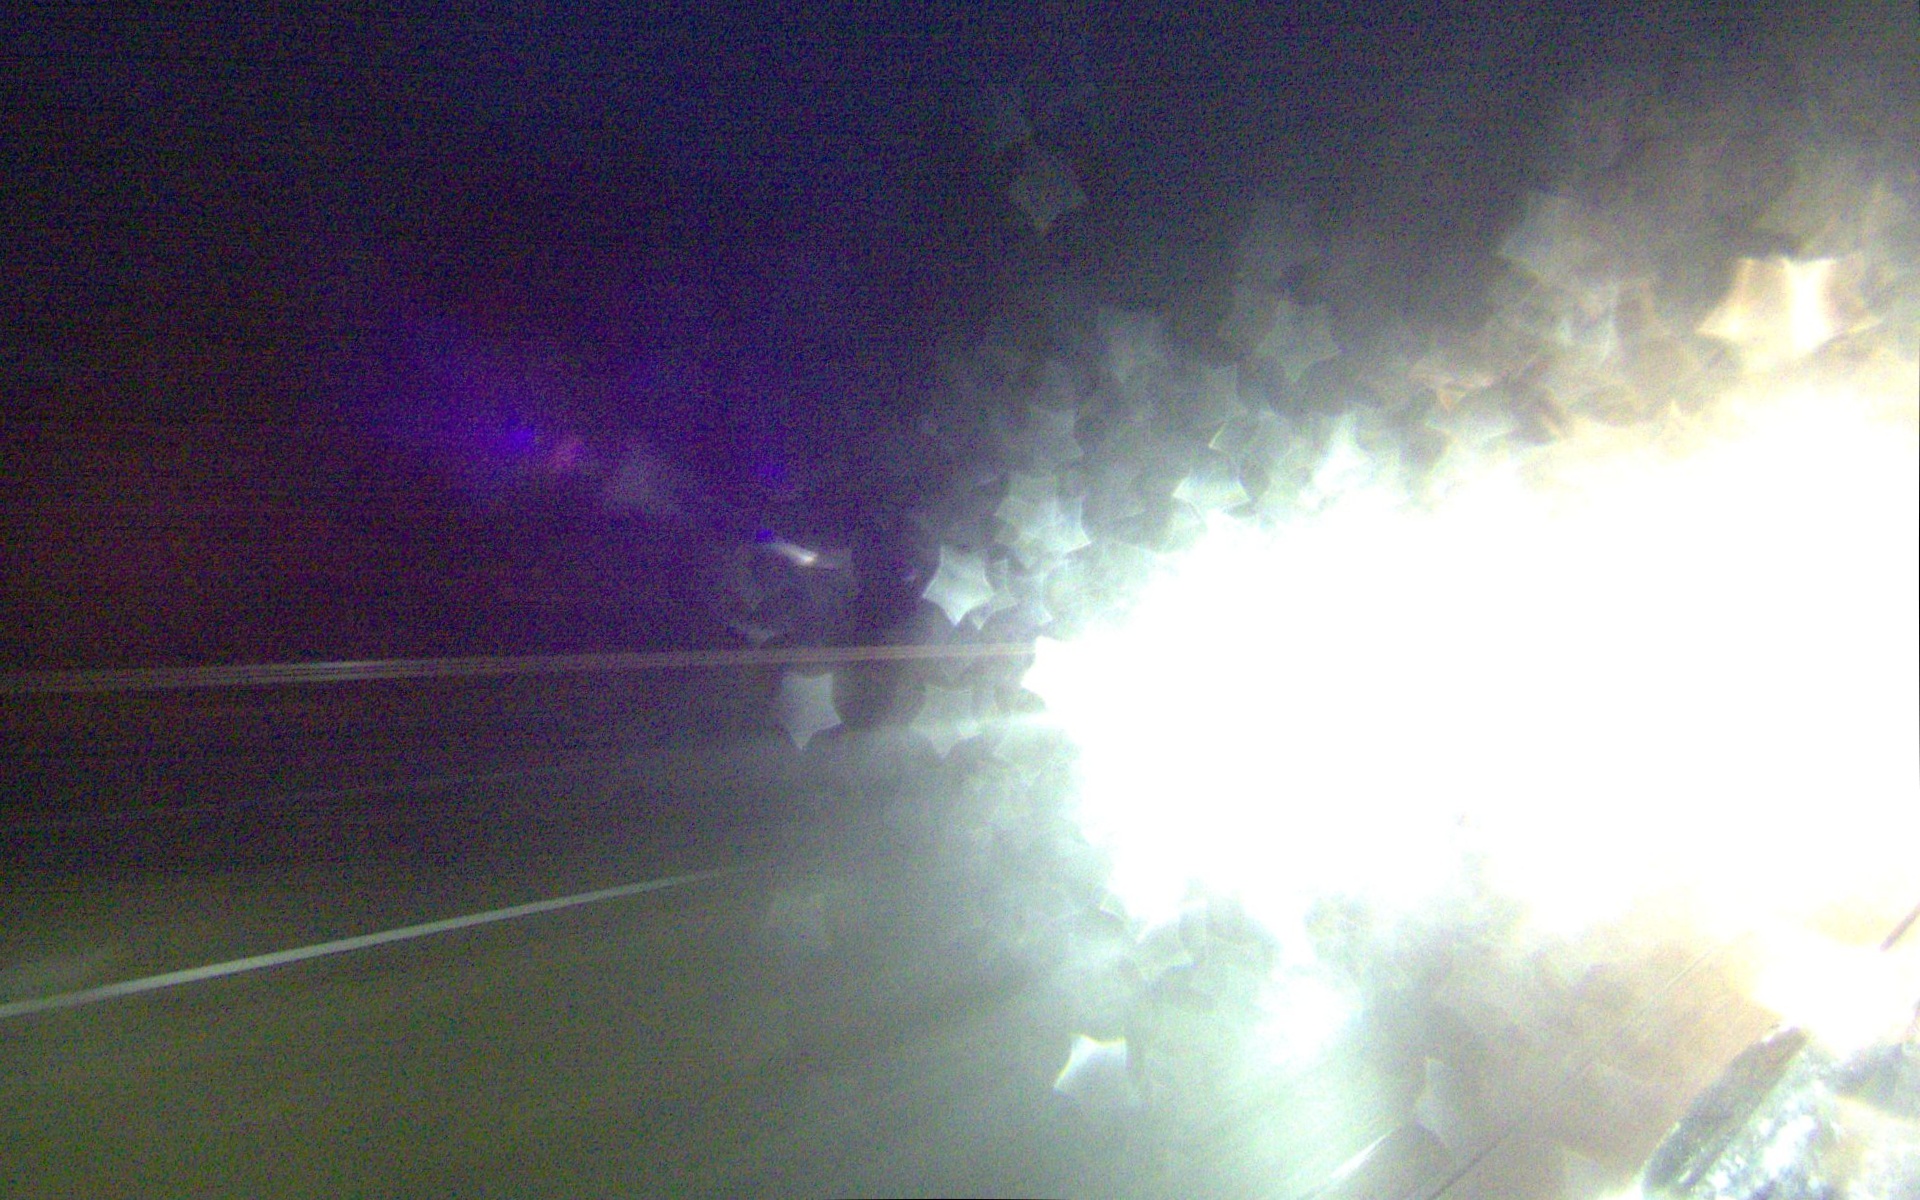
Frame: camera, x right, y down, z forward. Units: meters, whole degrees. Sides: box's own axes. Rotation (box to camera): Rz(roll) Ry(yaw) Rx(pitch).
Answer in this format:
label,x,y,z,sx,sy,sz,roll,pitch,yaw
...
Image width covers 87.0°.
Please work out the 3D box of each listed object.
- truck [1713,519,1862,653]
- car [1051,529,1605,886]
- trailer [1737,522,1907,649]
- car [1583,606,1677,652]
label,x,y,z,sx,sy,sz,roll,pitch,yaw
truck,27.190,-0.395,33.202,5.108,4.021,2.779,0,-3,-41
car,2.517,0.526,6.577,3.614,1.645,1.845,0,-2,-41
trailer,32.595,-0.476,37.929,13.579,4.030,2.743,-1,-3,-41
car,25.851,1.093,39.009,4.045,1.610,1.916,-1,-2,-41
